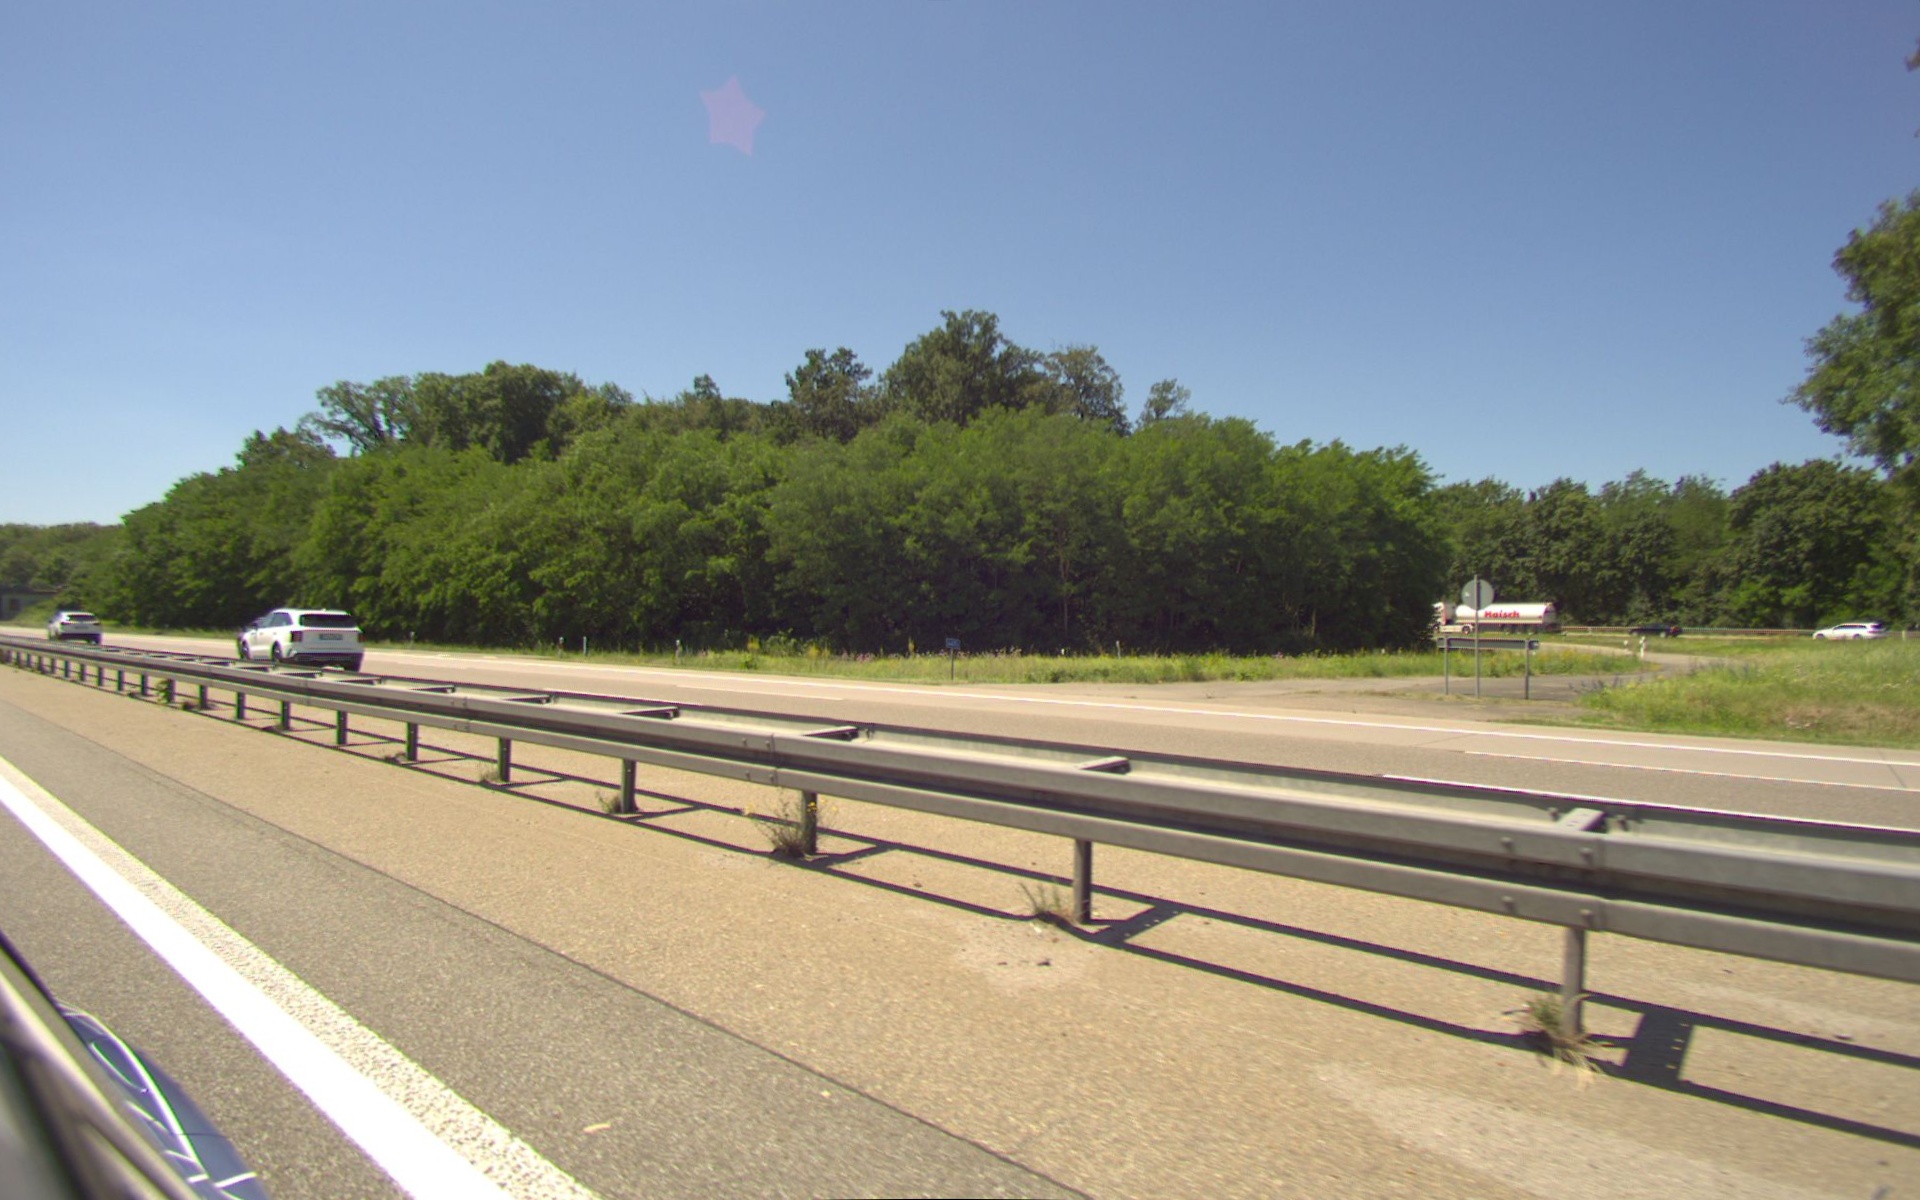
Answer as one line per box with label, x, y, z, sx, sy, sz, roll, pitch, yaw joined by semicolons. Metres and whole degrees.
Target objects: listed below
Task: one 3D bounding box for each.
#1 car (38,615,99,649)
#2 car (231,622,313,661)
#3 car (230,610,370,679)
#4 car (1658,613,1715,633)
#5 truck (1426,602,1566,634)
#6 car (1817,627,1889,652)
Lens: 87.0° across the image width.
car;-46.843;1.632;53.144;4.816;1.705;1.744;-1;-2;41
car;-28.189;1.687;41.440;4.073;1.506;1.744;-1;-3;41
car;-17.718;1.133;27.073;5.122;1.705;1.792;-1;-2;41
car;67.921;2.119;94.647;1.756;1.829;4.013;-1;0;-22
truck;59.233;1.894;112.621;2.661;3.307;14.828;-1;0;-27
car;72.366;3.183;82.066;1.757;1.829;4.011;-1;0;-14
